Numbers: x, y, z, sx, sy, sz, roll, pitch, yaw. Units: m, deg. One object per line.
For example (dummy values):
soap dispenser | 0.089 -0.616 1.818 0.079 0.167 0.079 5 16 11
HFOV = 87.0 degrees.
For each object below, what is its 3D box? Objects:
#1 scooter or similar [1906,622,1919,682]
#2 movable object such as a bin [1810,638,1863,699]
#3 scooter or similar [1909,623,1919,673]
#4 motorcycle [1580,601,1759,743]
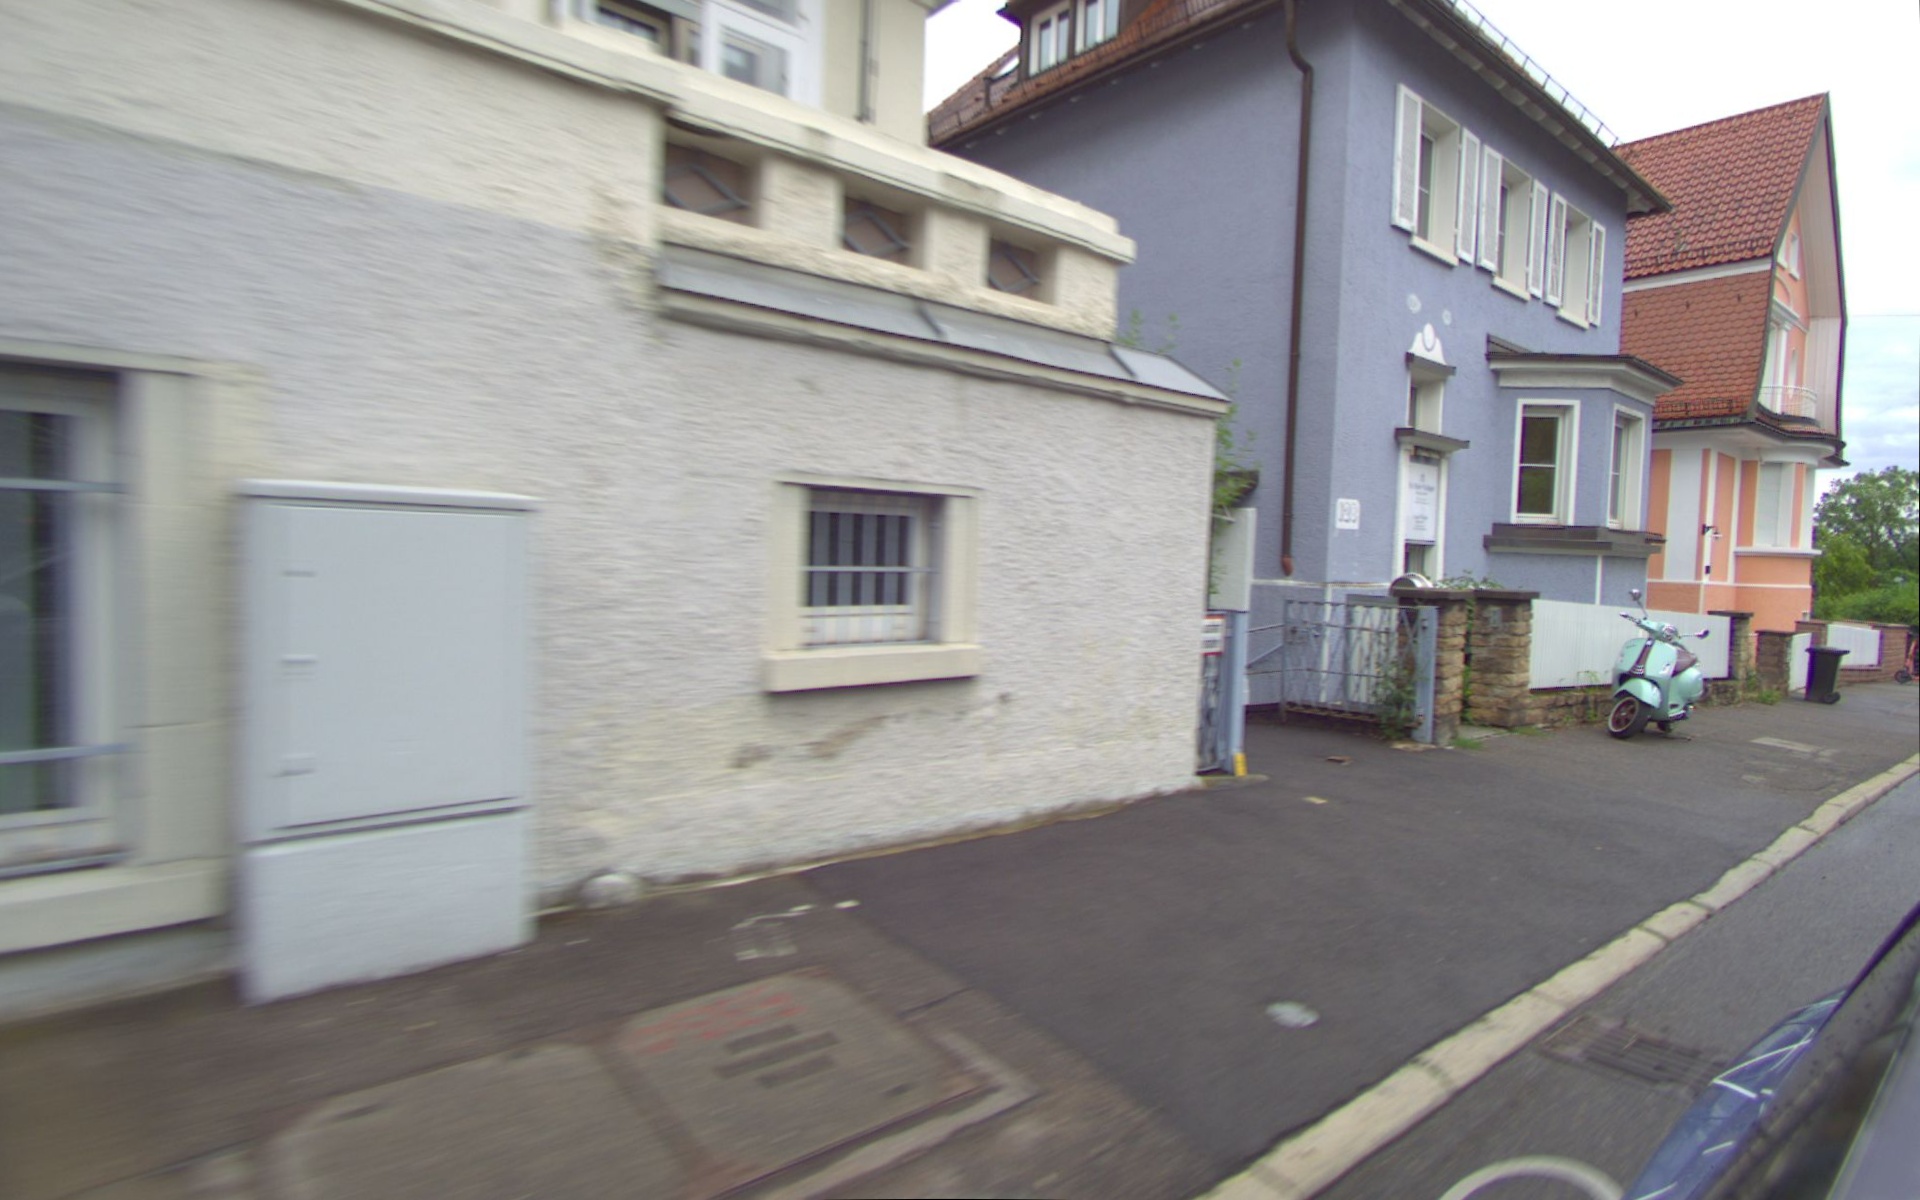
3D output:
scooter or similar | 23.429 1.266 24.249 1.447 1.420 0.357 2 0 -16
movable object such as a bin | 14.498 1.118 16.744 0.480 0.929 0.533 2 4 -42
scooter or similar | 25.785 1.311 26.736 0.351 1.288 1.290 2 2 11
motorcycle | 7.276 0.702 10.340 2.112 1.239 0.696 2 7 -36
